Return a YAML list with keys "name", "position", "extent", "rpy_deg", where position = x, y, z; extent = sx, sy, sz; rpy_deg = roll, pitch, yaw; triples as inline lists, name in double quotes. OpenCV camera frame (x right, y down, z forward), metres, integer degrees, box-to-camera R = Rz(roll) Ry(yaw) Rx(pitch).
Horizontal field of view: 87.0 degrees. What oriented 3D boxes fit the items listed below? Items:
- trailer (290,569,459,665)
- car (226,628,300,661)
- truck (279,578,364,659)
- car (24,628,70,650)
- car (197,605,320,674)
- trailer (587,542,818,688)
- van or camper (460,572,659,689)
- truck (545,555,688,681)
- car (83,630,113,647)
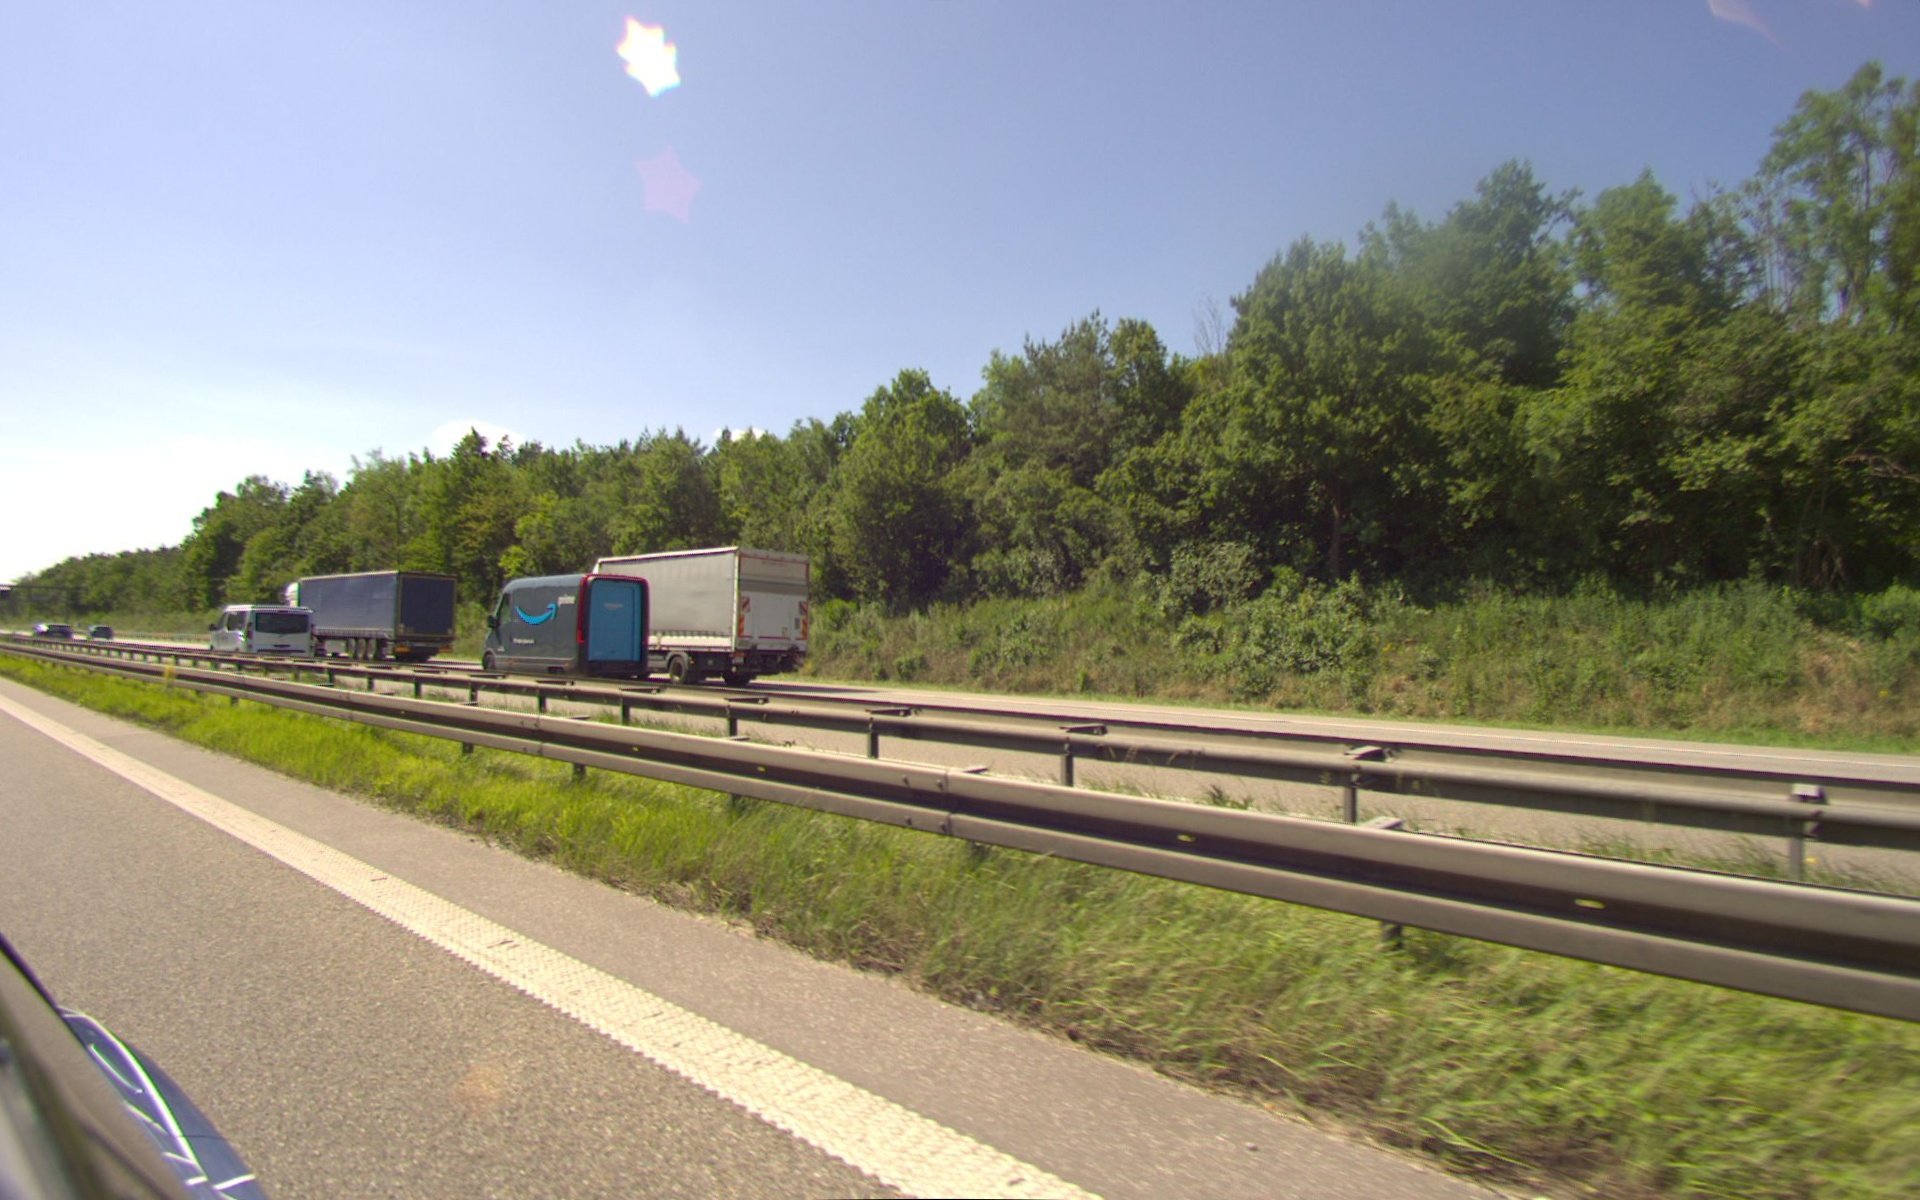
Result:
- name: "trailer"
  position: [-28.710, 0.925, 49.092]
  extent: [14.163, 4.089, 2.587]
  rpy_deg: [-1, -4, 42]
- name: "car"
  position: [-31.786, 1.997, 46.119]
  extent: [4.502, 1.429, 1.695]
  rpy_deg: [-1, -3, 41]
- name: "truck"
  position: [-33.829, 1.029, 53.612]
  extent: [3.998, 4.089, 2.587]
  rpy_deg: [-1, -4, 41]
- name: "car"
  position: [-62.217, 2.658, 68.915]
  extent: [4.817, 1.416, 1.788]
  rpy_deg: [-1, -3, 42]
- name: "car"
  position: [-22.323, 1.250, 32.114]
  extent: [5.232, 1.996, 1.907]
  rpy_deg: [-1, -5, 41]
- name: "trailer"
  position: [-7.814, 0.529, 30.048]
  extent: [7.689, 3.838, 2.683]
  rpy_deg: [-1, -4, 41]
- name: "van or camper"
  position: [-11.040, 0.862, 27.562]
  extent: [6.796, 2.833, 2.174]
  rpy_deg: [-1, -4, 42]
- name: "truck"
  position: [-11.262, 0.654, 33.127]
  extent: [3.998, 3.838, 2.674]
  rpy_deg: [-1, -4, 41]
- name: "car"
  position: [-85.770, 3.797, 100.656]
  extent: [4.367, 1.580, 1.578]
  rpy_deg: [-1, -5, 41]
